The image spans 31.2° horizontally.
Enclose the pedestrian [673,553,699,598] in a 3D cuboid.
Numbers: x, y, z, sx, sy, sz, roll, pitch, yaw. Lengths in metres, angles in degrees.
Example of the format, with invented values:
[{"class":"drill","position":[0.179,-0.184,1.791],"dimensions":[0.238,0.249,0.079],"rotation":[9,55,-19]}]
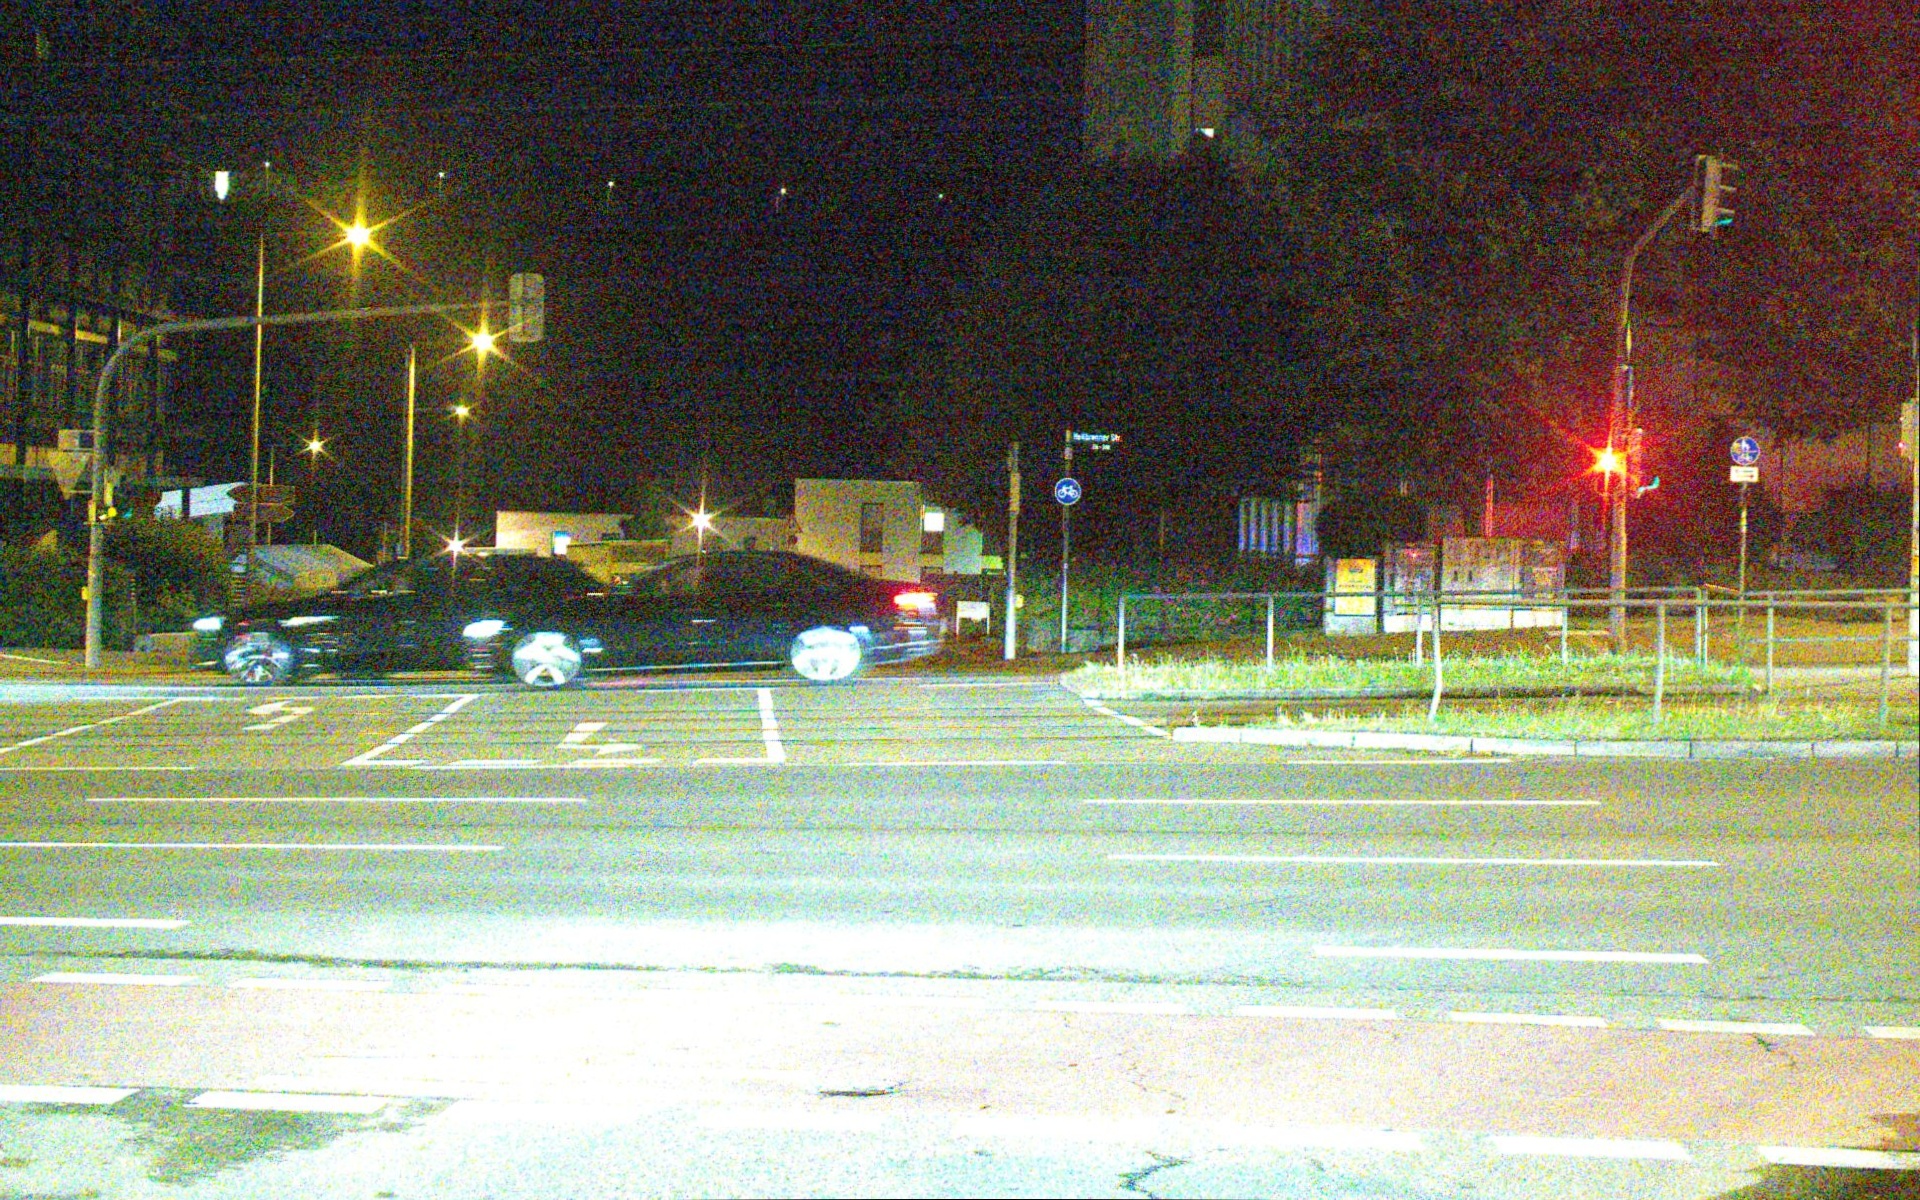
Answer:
[{"class":"pedestrian","position":[-11.756,-1.032,147.612],"dimensions":[0.849,1.905,1.007],"rotation":[1,0,-18]}]

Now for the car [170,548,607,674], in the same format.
[{"class":"car","position":[-6.730,0.124,40.782],"dimensions":[4.819,1.415,1.851],"rotation":[-1,0,3]}]

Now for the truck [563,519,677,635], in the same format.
[{"class":"truck","position":[-14.784,-0.994,148.846],"dimensions":[3.359,4.826,7.908],"rotation":[1,0,-17]}]

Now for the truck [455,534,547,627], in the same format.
[{"class":"truck","position":[-16.043,-0.665,119.917],"dimensions":[2.417,3.078,6.439],"rotation":[1,0,-14]}]

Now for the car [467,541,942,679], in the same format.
[{"class":"car","position":[-2.725,0.101,37.365],"dimensions":[4.941,1.415,1.851],"rotation":[-1,0,3]}]
